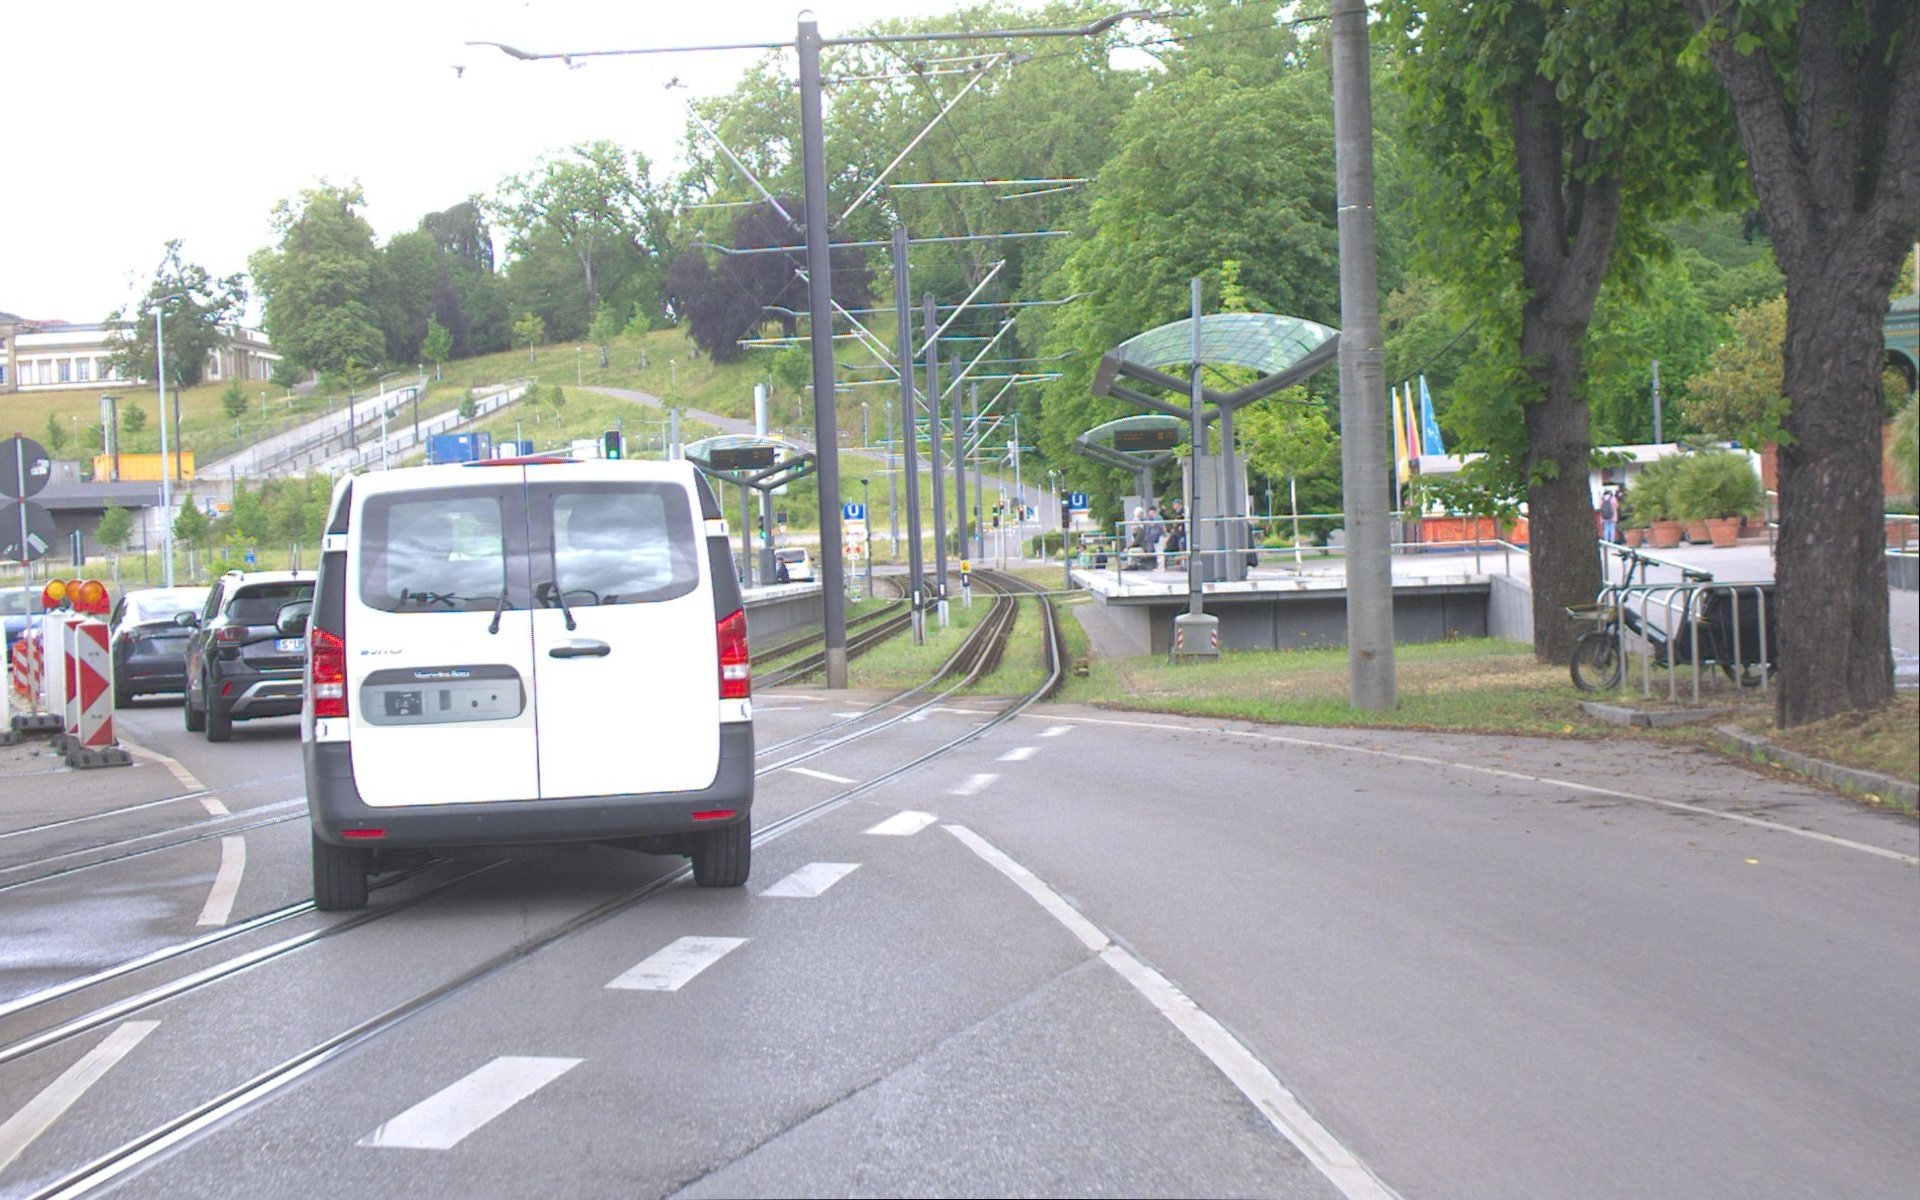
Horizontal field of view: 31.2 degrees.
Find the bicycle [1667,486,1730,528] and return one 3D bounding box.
[{"bbox_3d":[18.778,-2.359,87.417,0.562,1.057,1.716,-1,1,-29],"label":"bicycle"}]

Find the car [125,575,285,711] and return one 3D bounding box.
[{"bbox_3d":[-9.390,0.492,42.989,1.838,1.577,4.063,-1,1,-11],"label":"car"}]

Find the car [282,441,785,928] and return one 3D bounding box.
[{"bbox_3d":[-2.065,0.301,15.884,1.958,1.897,4.462,-1,1,-10],"label":"car"}]

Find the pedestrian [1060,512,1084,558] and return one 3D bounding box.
[{"bbox_3d":[3.212,-1.856,98.752,0.673,1.319,0.968,0,1,0],"label":"pedestrian"}]

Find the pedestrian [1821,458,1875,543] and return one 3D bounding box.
[{"bbox_3d":[12.575,-1.409,48.692,0.548,1.197,0.669,0,0,-5],"label":"pedestrian"}]

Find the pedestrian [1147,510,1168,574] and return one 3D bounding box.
[{"bbox_3d":[5.015,-1.466,87.459,0.524,1.614,0.675,0,0,3],"label":"pedestrian"}]

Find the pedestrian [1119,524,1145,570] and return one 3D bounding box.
[{"bbox_3d":[4.468,-1.363,89.148,0.657,1.187,0.675,0,0,3],"label":"pedestrian"}]

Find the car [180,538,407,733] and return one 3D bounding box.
[{"bbox_3d":[-6.323,0.294,32.996,1.838,1.723,4.063,-1,1,-7],"label":"car"}]

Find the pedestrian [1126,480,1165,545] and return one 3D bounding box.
[{"bbox_3d":[4.792,-2.250,88.656,0.860,1.671,0.762,0,0,-9],"label":"pedestrian"}]

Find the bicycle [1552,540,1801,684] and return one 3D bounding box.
[{"bbox_3d":[6.166,0.098,29.674,1.992,1.154,0.741,-2,1,6],"label":"bicycle"}]

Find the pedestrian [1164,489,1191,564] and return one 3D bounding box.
[{"bbox_3d":[5.358,-1.808,84.712,0.632,1.832,0.950,0,0,3],"label":"pedestrian"}]

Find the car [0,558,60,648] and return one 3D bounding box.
[{"bbox_3d":[-17.342,0.069,61.634,1.694,1.456,3.914,-3,2,-6],"label":"car"}]

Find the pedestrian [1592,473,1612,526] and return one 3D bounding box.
[{"bbox_3d":[18.113,-2.838,96.982,0.485,1.482,0.460,0,0,4],"label":"pedestrian"}]

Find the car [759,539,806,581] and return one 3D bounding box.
[{"bbox_3d":[-8.981,-2.026,173.710,2.200,2.007,5.152,-2,1,-4],"label":"car"}]
